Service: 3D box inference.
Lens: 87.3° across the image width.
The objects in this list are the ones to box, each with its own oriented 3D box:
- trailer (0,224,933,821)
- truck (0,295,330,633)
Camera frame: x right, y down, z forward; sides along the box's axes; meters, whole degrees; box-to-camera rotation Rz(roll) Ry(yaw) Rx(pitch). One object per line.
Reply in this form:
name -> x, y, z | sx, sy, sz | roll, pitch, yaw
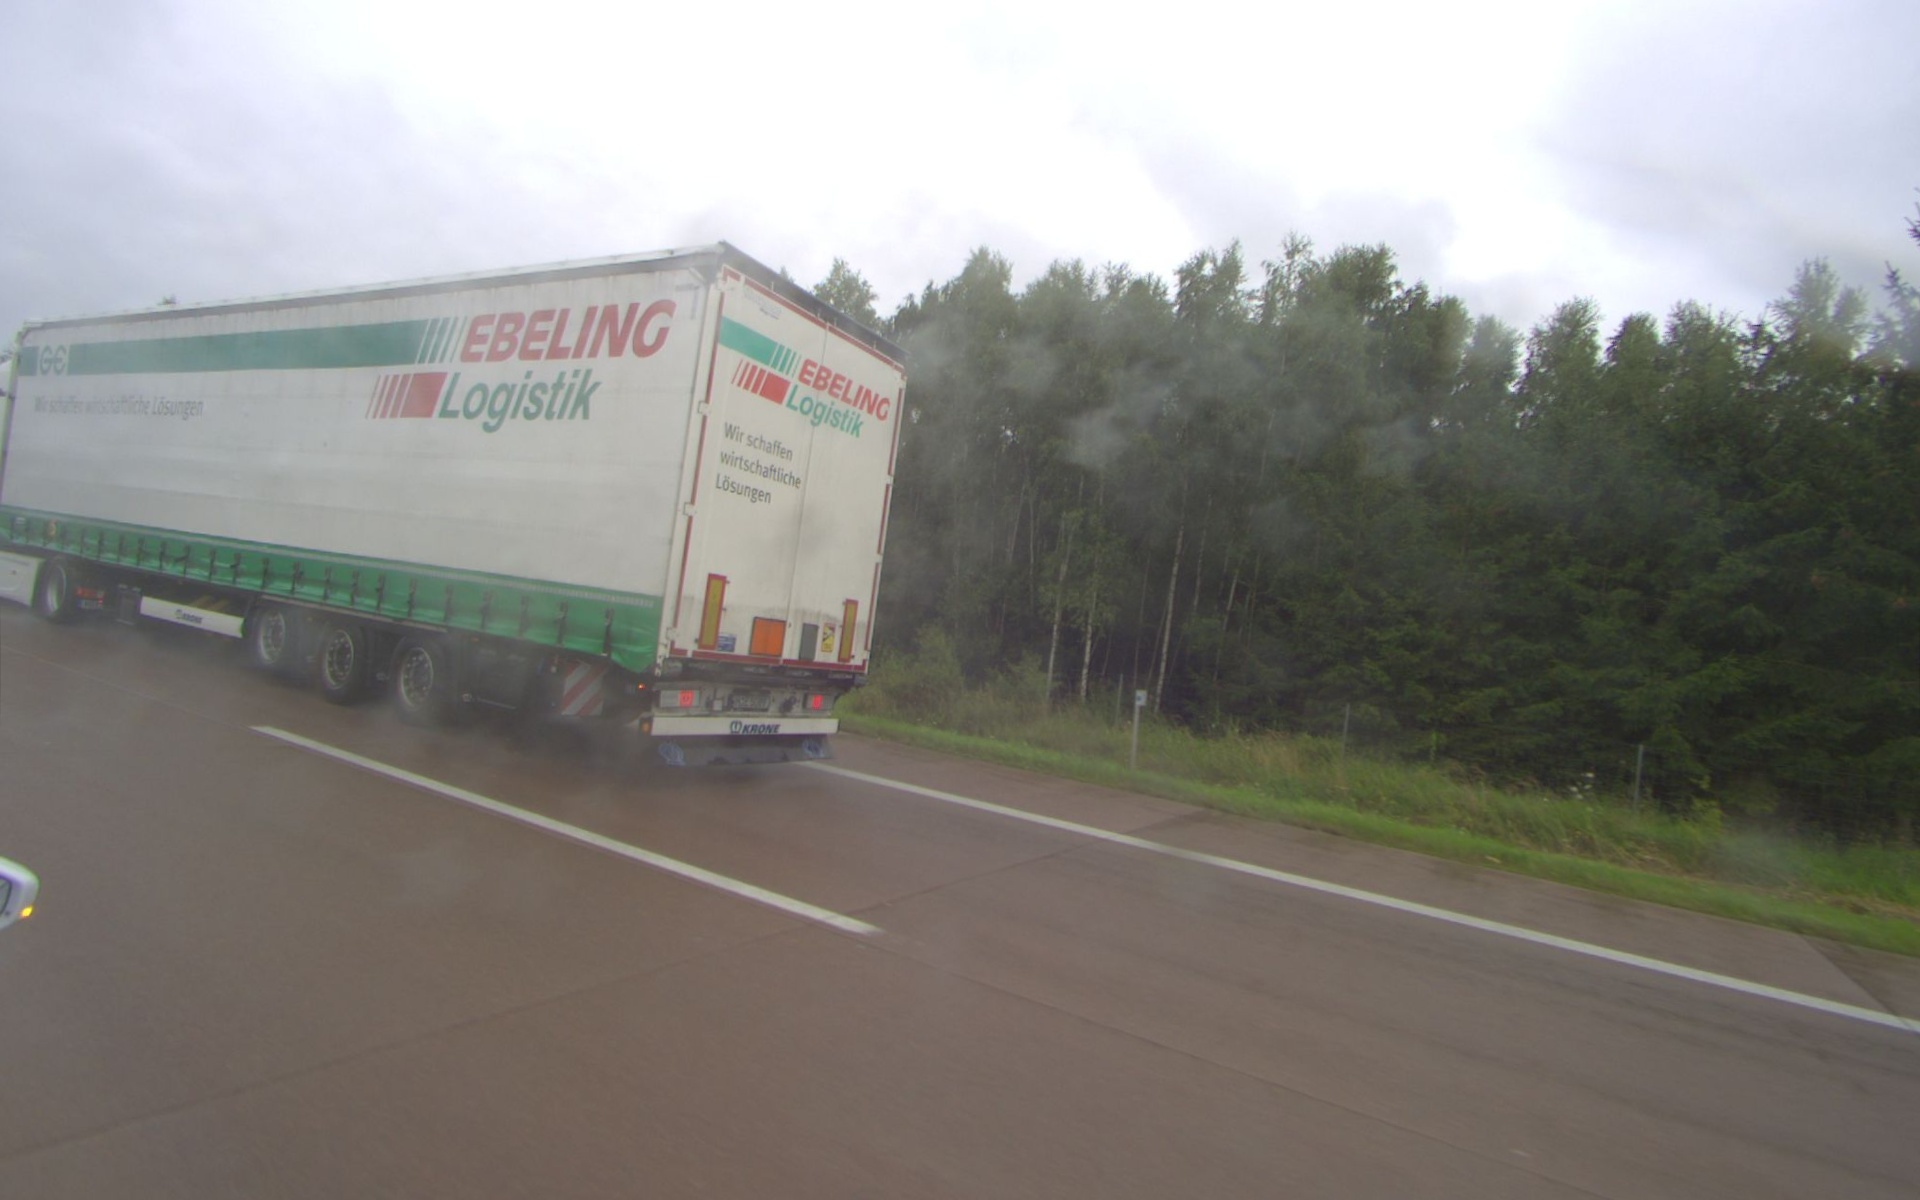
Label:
trailer -> -6.722, -1.157, 11.710 | 12.910, 4.285, 2.856 | 7, 1, 31
truck -> -13.055, -2.001, 15.468 | 6.242, 4.159, 2.884 | 7, 1, 31
